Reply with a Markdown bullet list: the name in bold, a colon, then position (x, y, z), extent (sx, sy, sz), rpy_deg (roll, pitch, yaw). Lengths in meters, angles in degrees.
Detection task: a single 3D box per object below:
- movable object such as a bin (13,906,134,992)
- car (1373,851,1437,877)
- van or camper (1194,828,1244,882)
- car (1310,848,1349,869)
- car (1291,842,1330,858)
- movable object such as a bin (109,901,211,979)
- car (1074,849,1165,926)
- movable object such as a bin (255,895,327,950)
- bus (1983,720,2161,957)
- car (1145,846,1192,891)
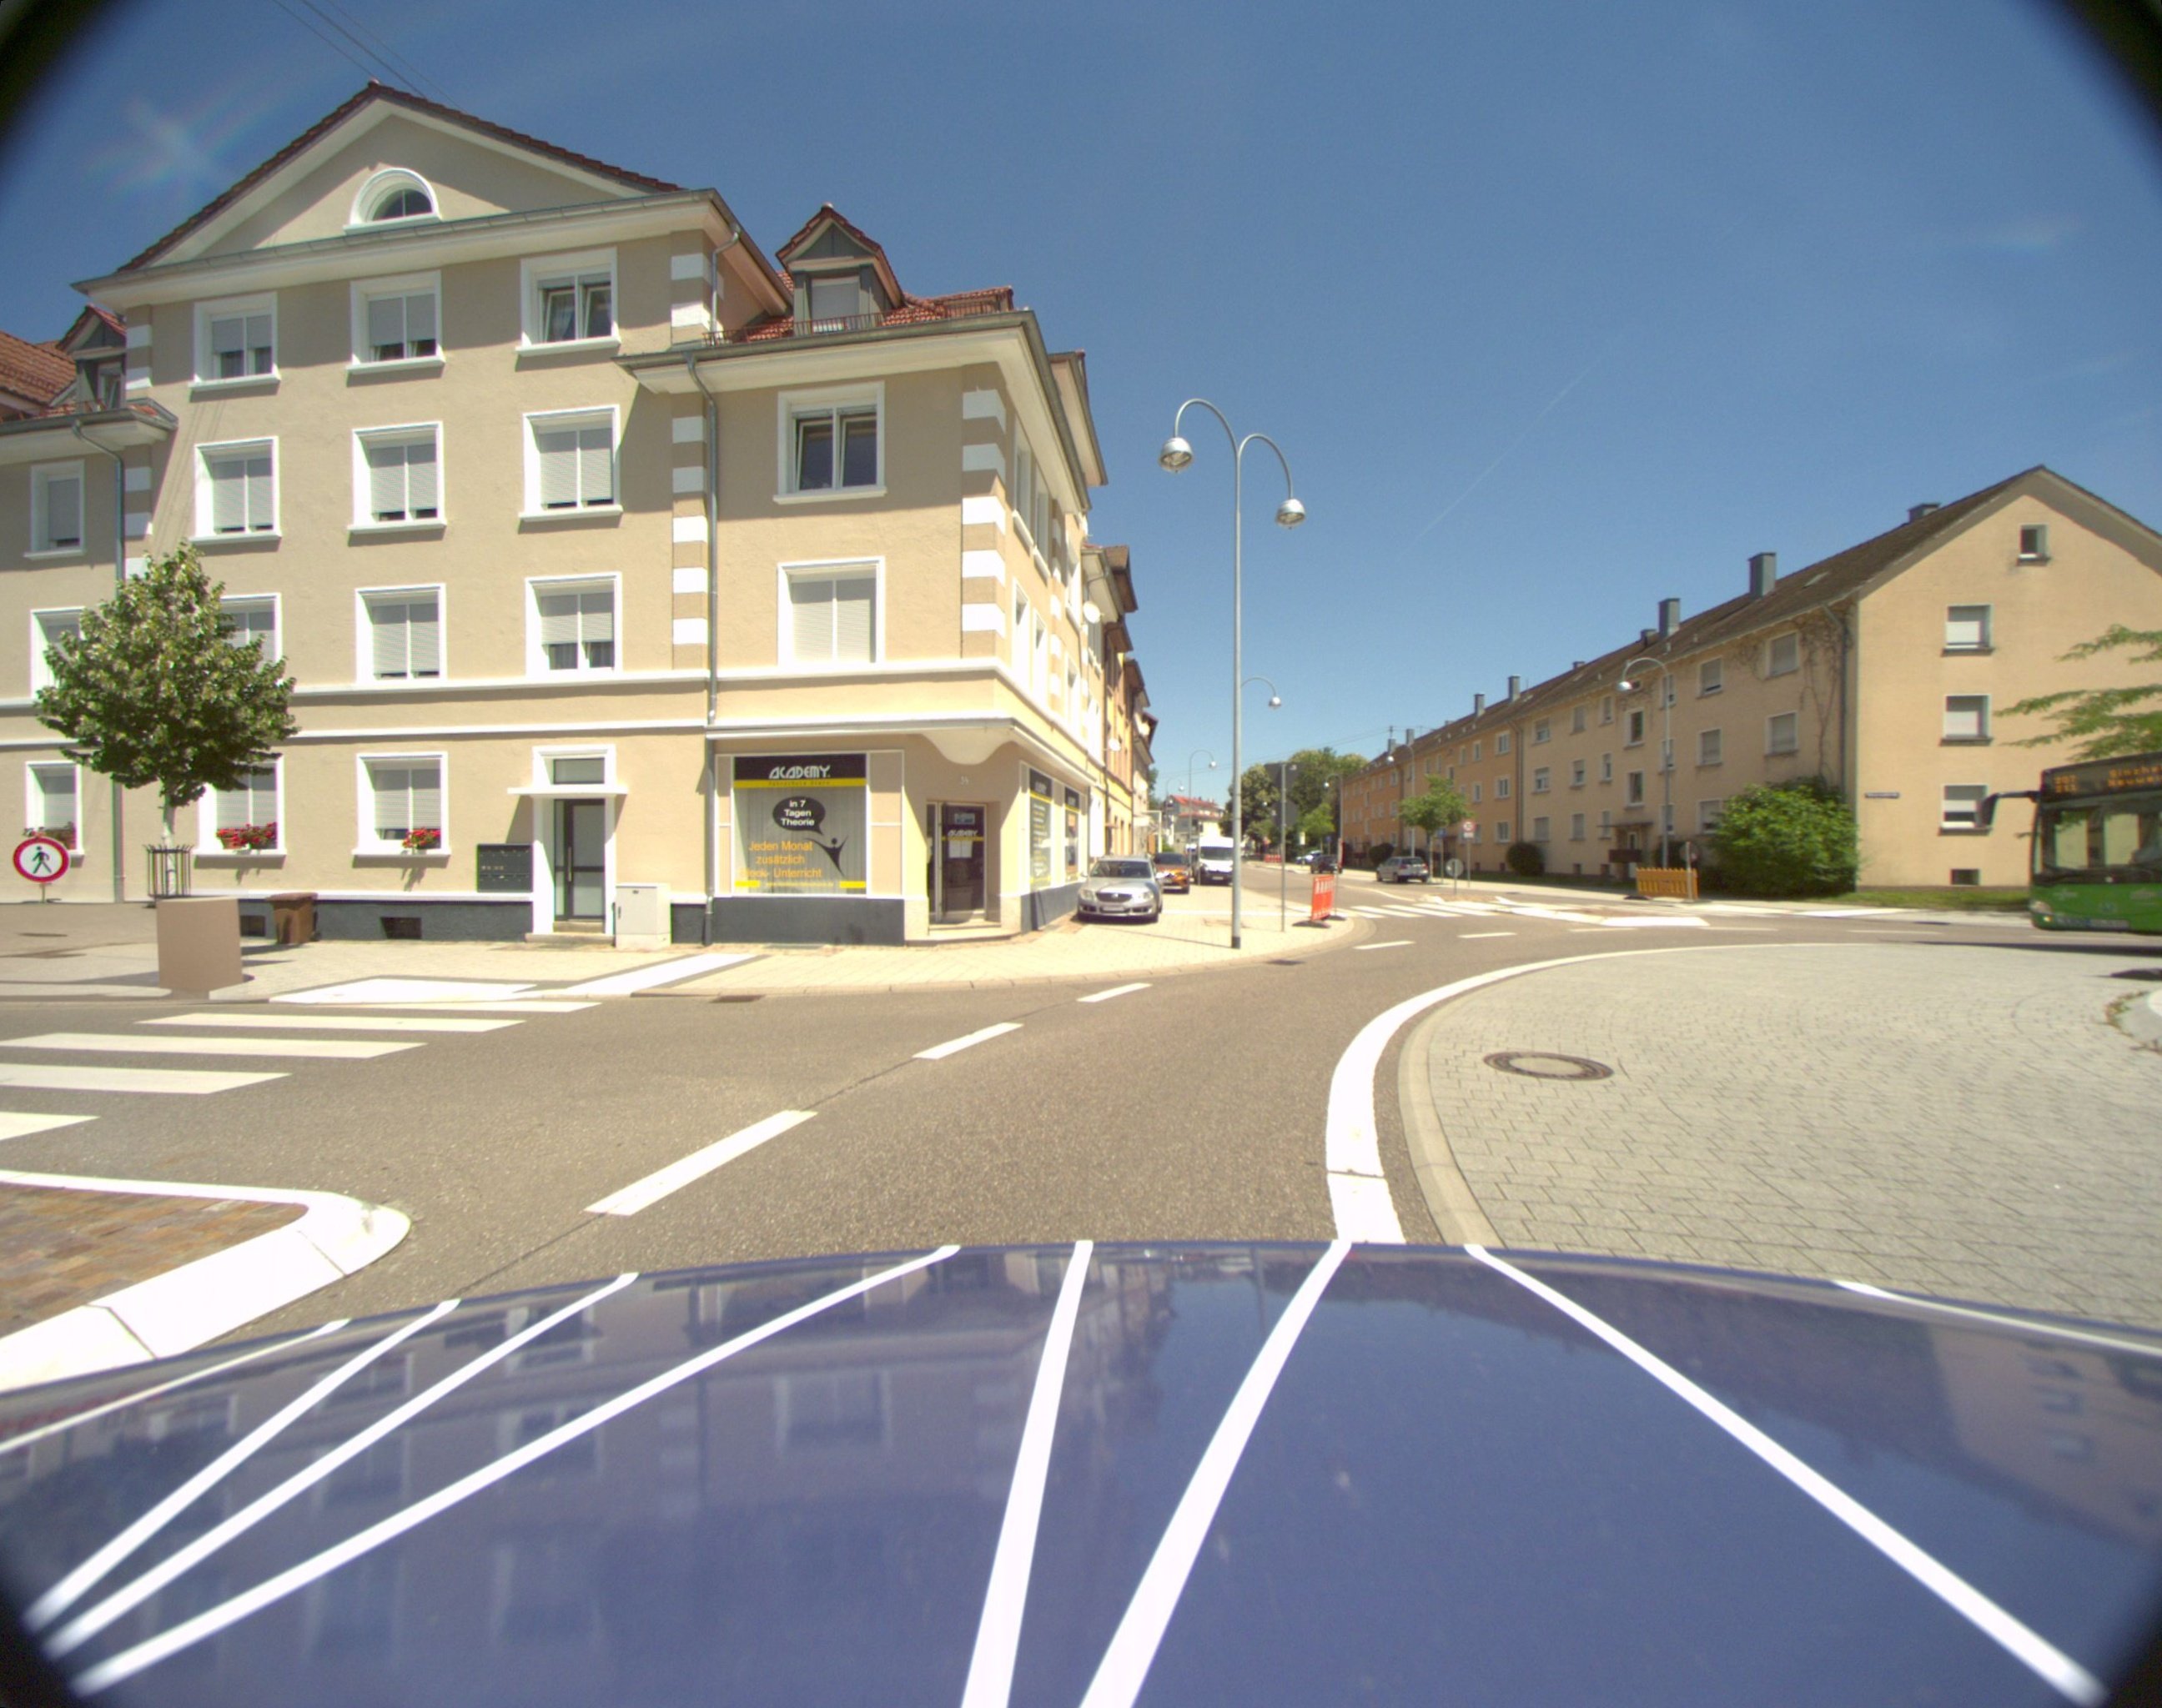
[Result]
- **movable object such as a bin**: position (-13.549, 1.258, 10.235), extent (0.703, 1.049, 0.671), rpy_deg (0, 3, 7)
- **car**: position (18.525, 0.552, 43.645), extent (1.998, 1.412, 4.088), rpy_deg (-1, 0, 1)
- **van or camper**: position (7.112, 0.021, 39.676), extent (2.169, 2.574, 5.768), rpy_deg (1, 1, 7)
- **car**: position (19.596, 0.321, 60.034), extent (1.861, 1.498, 4.564), rpy_deg (-2, 0, 4)
- **car**: position (29.398, -0.523, 97.297), extent (4.436, 1.863, 1.818), rpy_deg (-2, 1, -5)
- **movable object such as a bin**: position (-13.413, 1.242, 11.078), extent (0.703, 1.049, 0.642), rpy_deg (0, 1, 7)
- **car**: position (1.053, 0.679, 18.222), extent (1.767, 1.521, 4.692), rpy_deg (1, 1, 8)
- **movable object such as a bin**: position (-14.276, 1.230, 13.746), extent (0.579, 0.930, 0.656), rpy_deg (0, 2, 0)
- **bus**: position (20.150, -0.029, 10.920), extent (10.072, 3.303, 2.967), rpy_deg (2, -3, 5)
- **car**: position (3.527, 0.511, 30.113), extent (1.676, 1.610, 4.365), rpy_deg (2, 1, 8)
